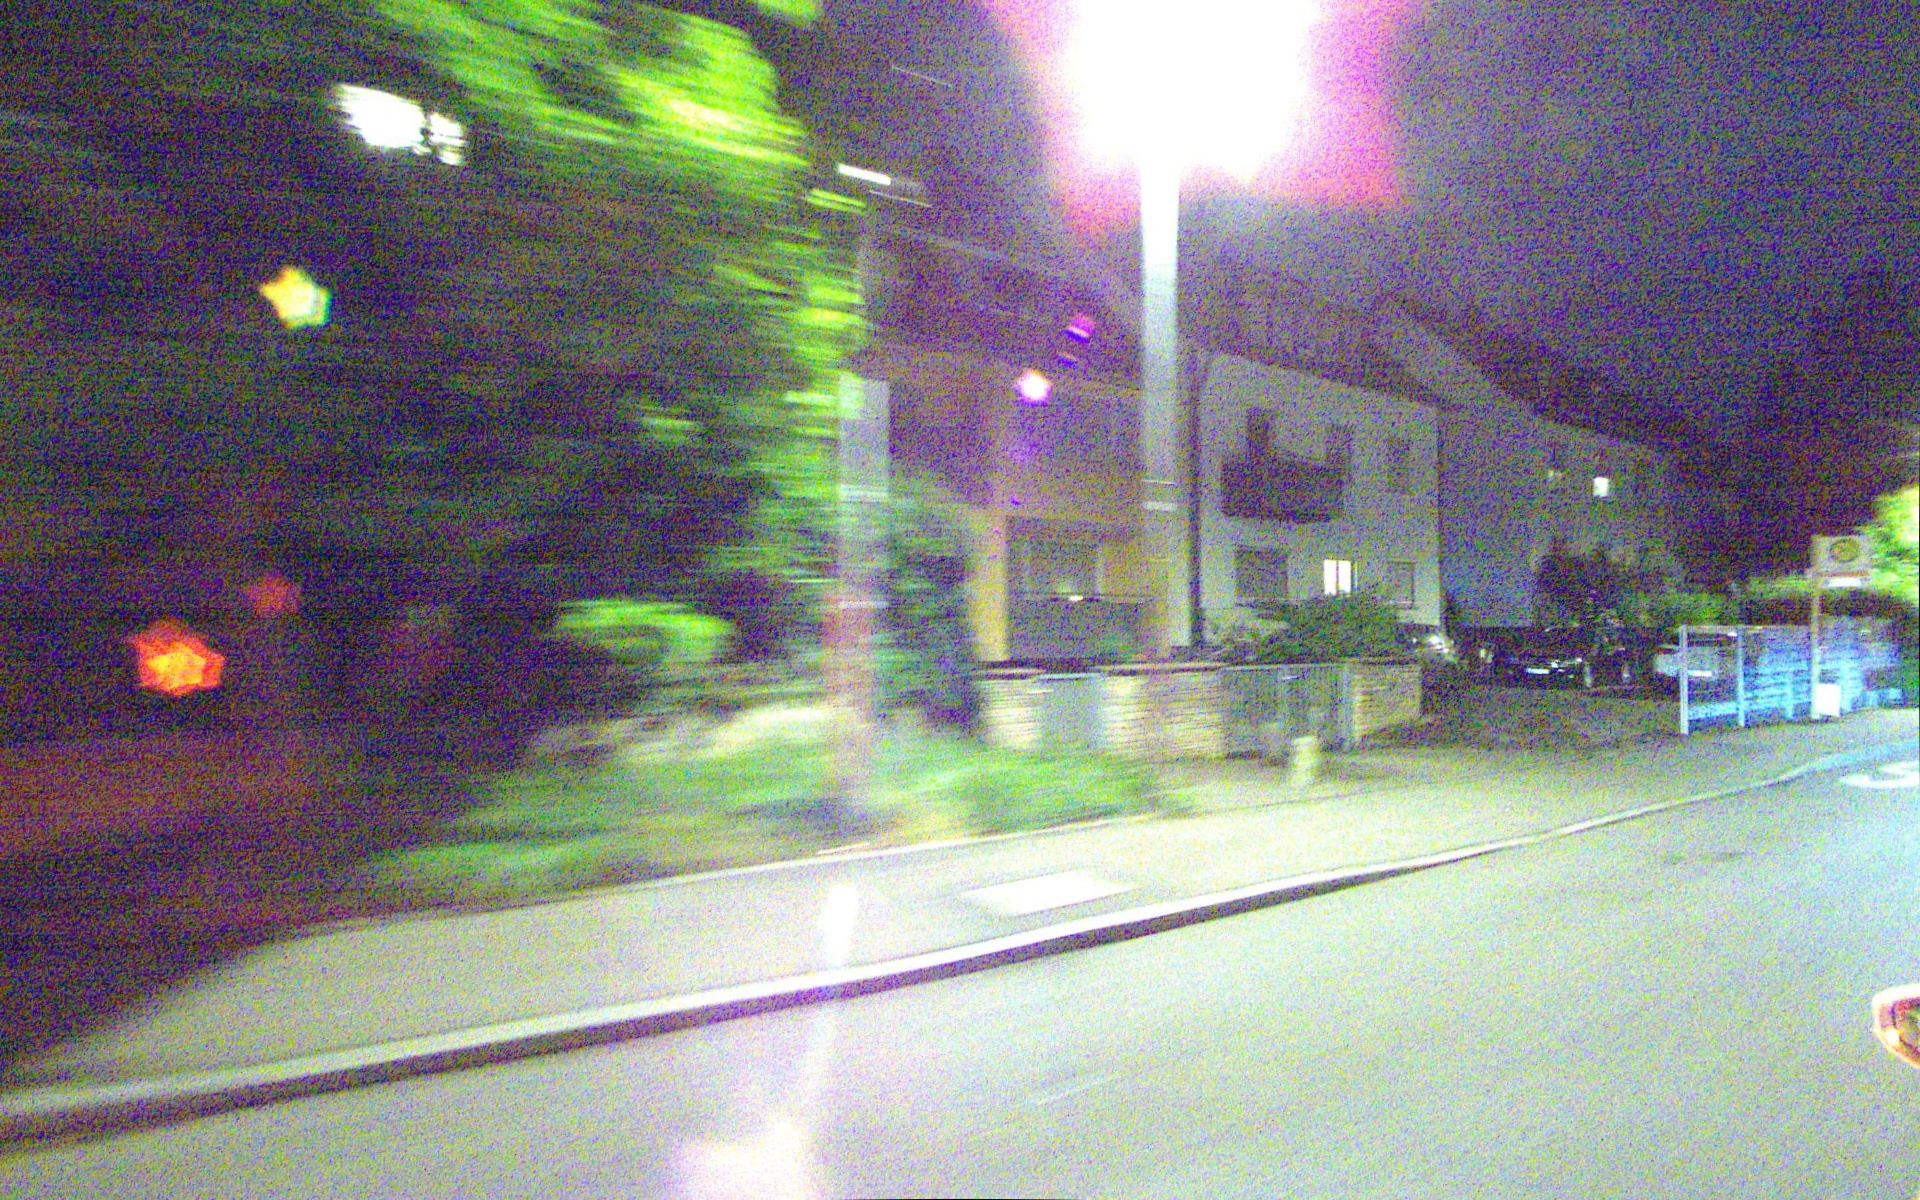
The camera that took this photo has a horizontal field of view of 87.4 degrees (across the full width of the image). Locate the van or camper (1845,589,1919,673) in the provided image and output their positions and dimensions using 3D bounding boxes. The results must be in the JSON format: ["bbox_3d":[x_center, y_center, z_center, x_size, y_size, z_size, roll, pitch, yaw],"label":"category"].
[{"bbox_3d":[38.075,1.257,39.055,5.344,3.150,2.120,0,-5,45],"label":"van or camper"}]

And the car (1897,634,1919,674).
[{"bbox_3d":[41.312,2.248,40.854,2.045,1.634,4.389,4,-3,-34],"label":"car"}]

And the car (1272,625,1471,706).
[{"bbox_3d":[8.278,1.245,20.122,4.078,1.478,1.716,1,-2,-34],"label":"car"}]

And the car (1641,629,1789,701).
[{"bbox_3d":[17.172,1.404,22.791,3.969,1.458,1.957,2,-1,-42],"label":"car"}]

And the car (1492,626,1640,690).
[{"bbox_3d":[15.193,1.398,25.124,3.962,1.446,1.836,2,-1,-37],"label":"car"}]
